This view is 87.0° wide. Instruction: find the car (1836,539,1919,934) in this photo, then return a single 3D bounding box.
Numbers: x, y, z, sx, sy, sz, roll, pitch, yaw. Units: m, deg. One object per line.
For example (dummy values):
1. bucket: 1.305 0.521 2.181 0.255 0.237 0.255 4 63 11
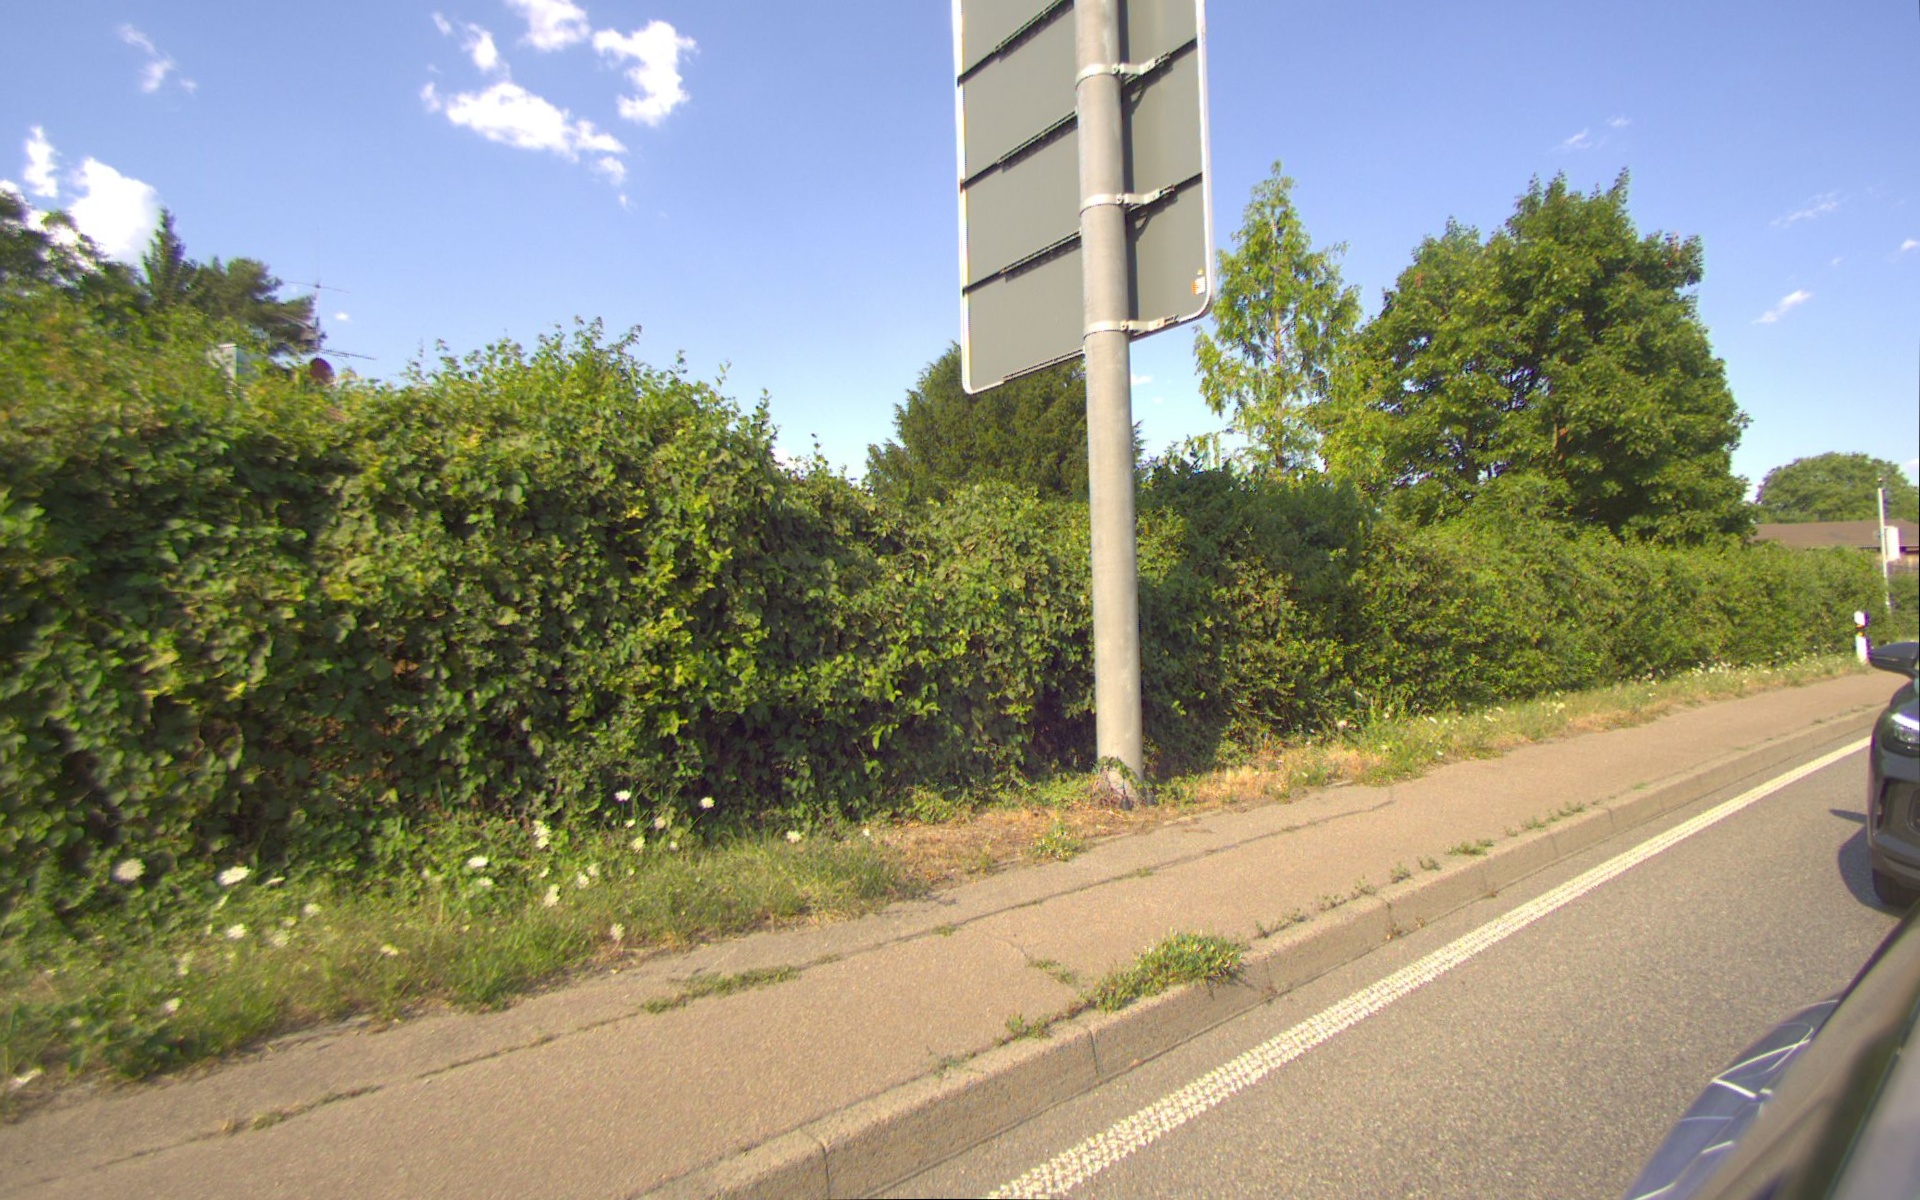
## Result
1. car: 5.960 0.544 4.998 3.930 1.662 1.865 -2 2 -40
